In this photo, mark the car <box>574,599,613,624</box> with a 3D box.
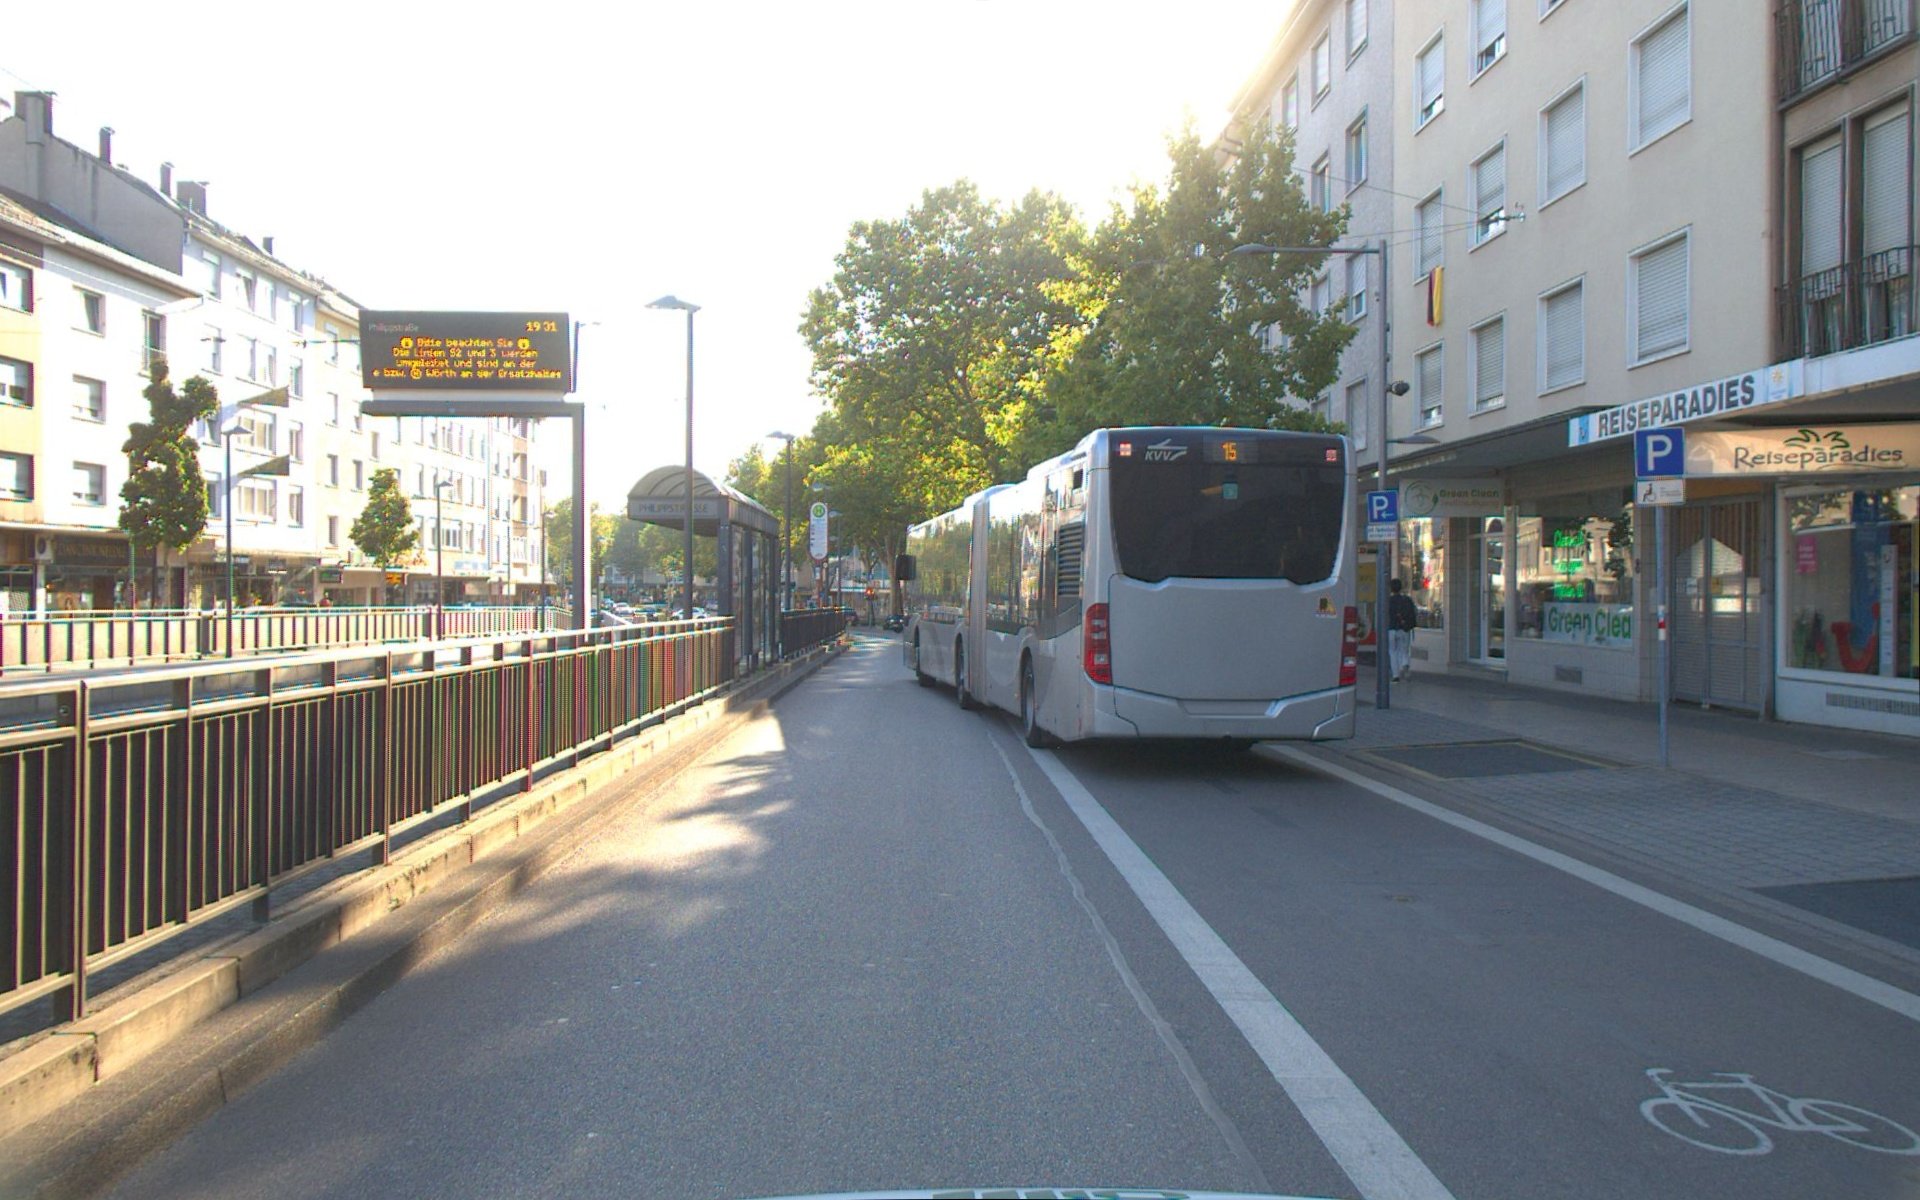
[{"bbox_3d":[-25.550,0.799,115.402,1.953,1.680,3.999,-1,0,-2],"label":"car"}]

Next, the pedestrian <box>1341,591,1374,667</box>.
[{"bbox_3d":[7.575,0.546,31.532,0.465,1.419,0.611,-1,0,-2],"label":"pedestrian"}]

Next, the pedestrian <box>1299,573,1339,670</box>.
[{"bbox_3d":[6.902,0.410,31.807,0.553,1.827,0.766,-1,0,-2],"label":"pedestrian"}]

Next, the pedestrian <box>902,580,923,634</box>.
[{"bbox_3d":[-2.321,0.355,80.727,0.870,2.591,1.164,-1,0,5],"label":"pedestrian"}]

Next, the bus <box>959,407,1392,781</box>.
[{"bbox_3d":[1.867,-0.066,18.838,2.645,3.172,9.367,0,0,-7],"label":"bus"}]

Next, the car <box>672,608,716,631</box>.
[{"bbox_3d":[-24.571,1.809,152.678,3.911,2.049,1.960,0,0,-7],"label":"car"}]

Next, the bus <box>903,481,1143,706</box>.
[{"bbox_3d":[0.756,-0.110,27.998,2.645,3.172,9.056,0,0,-7],"label":"bus"}]

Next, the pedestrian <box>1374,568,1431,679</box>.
[{"bbox_3d":[7.376,0.384,27.590,0.709,1.827,0.766,-1,0,-2],"label":"pedestrian"}]

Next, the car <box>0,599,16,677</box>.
[{"bbox_3d":[-22.606,0.860,35.752,1.740,1.709,3.489,-1,0,43],"label":"car"}]

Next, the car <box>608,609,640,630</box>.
[{"bbox_3d":[-28.452,1.633,140.140,1.953,1.680,3.999,-1,0,-2],"label":"car"}]
